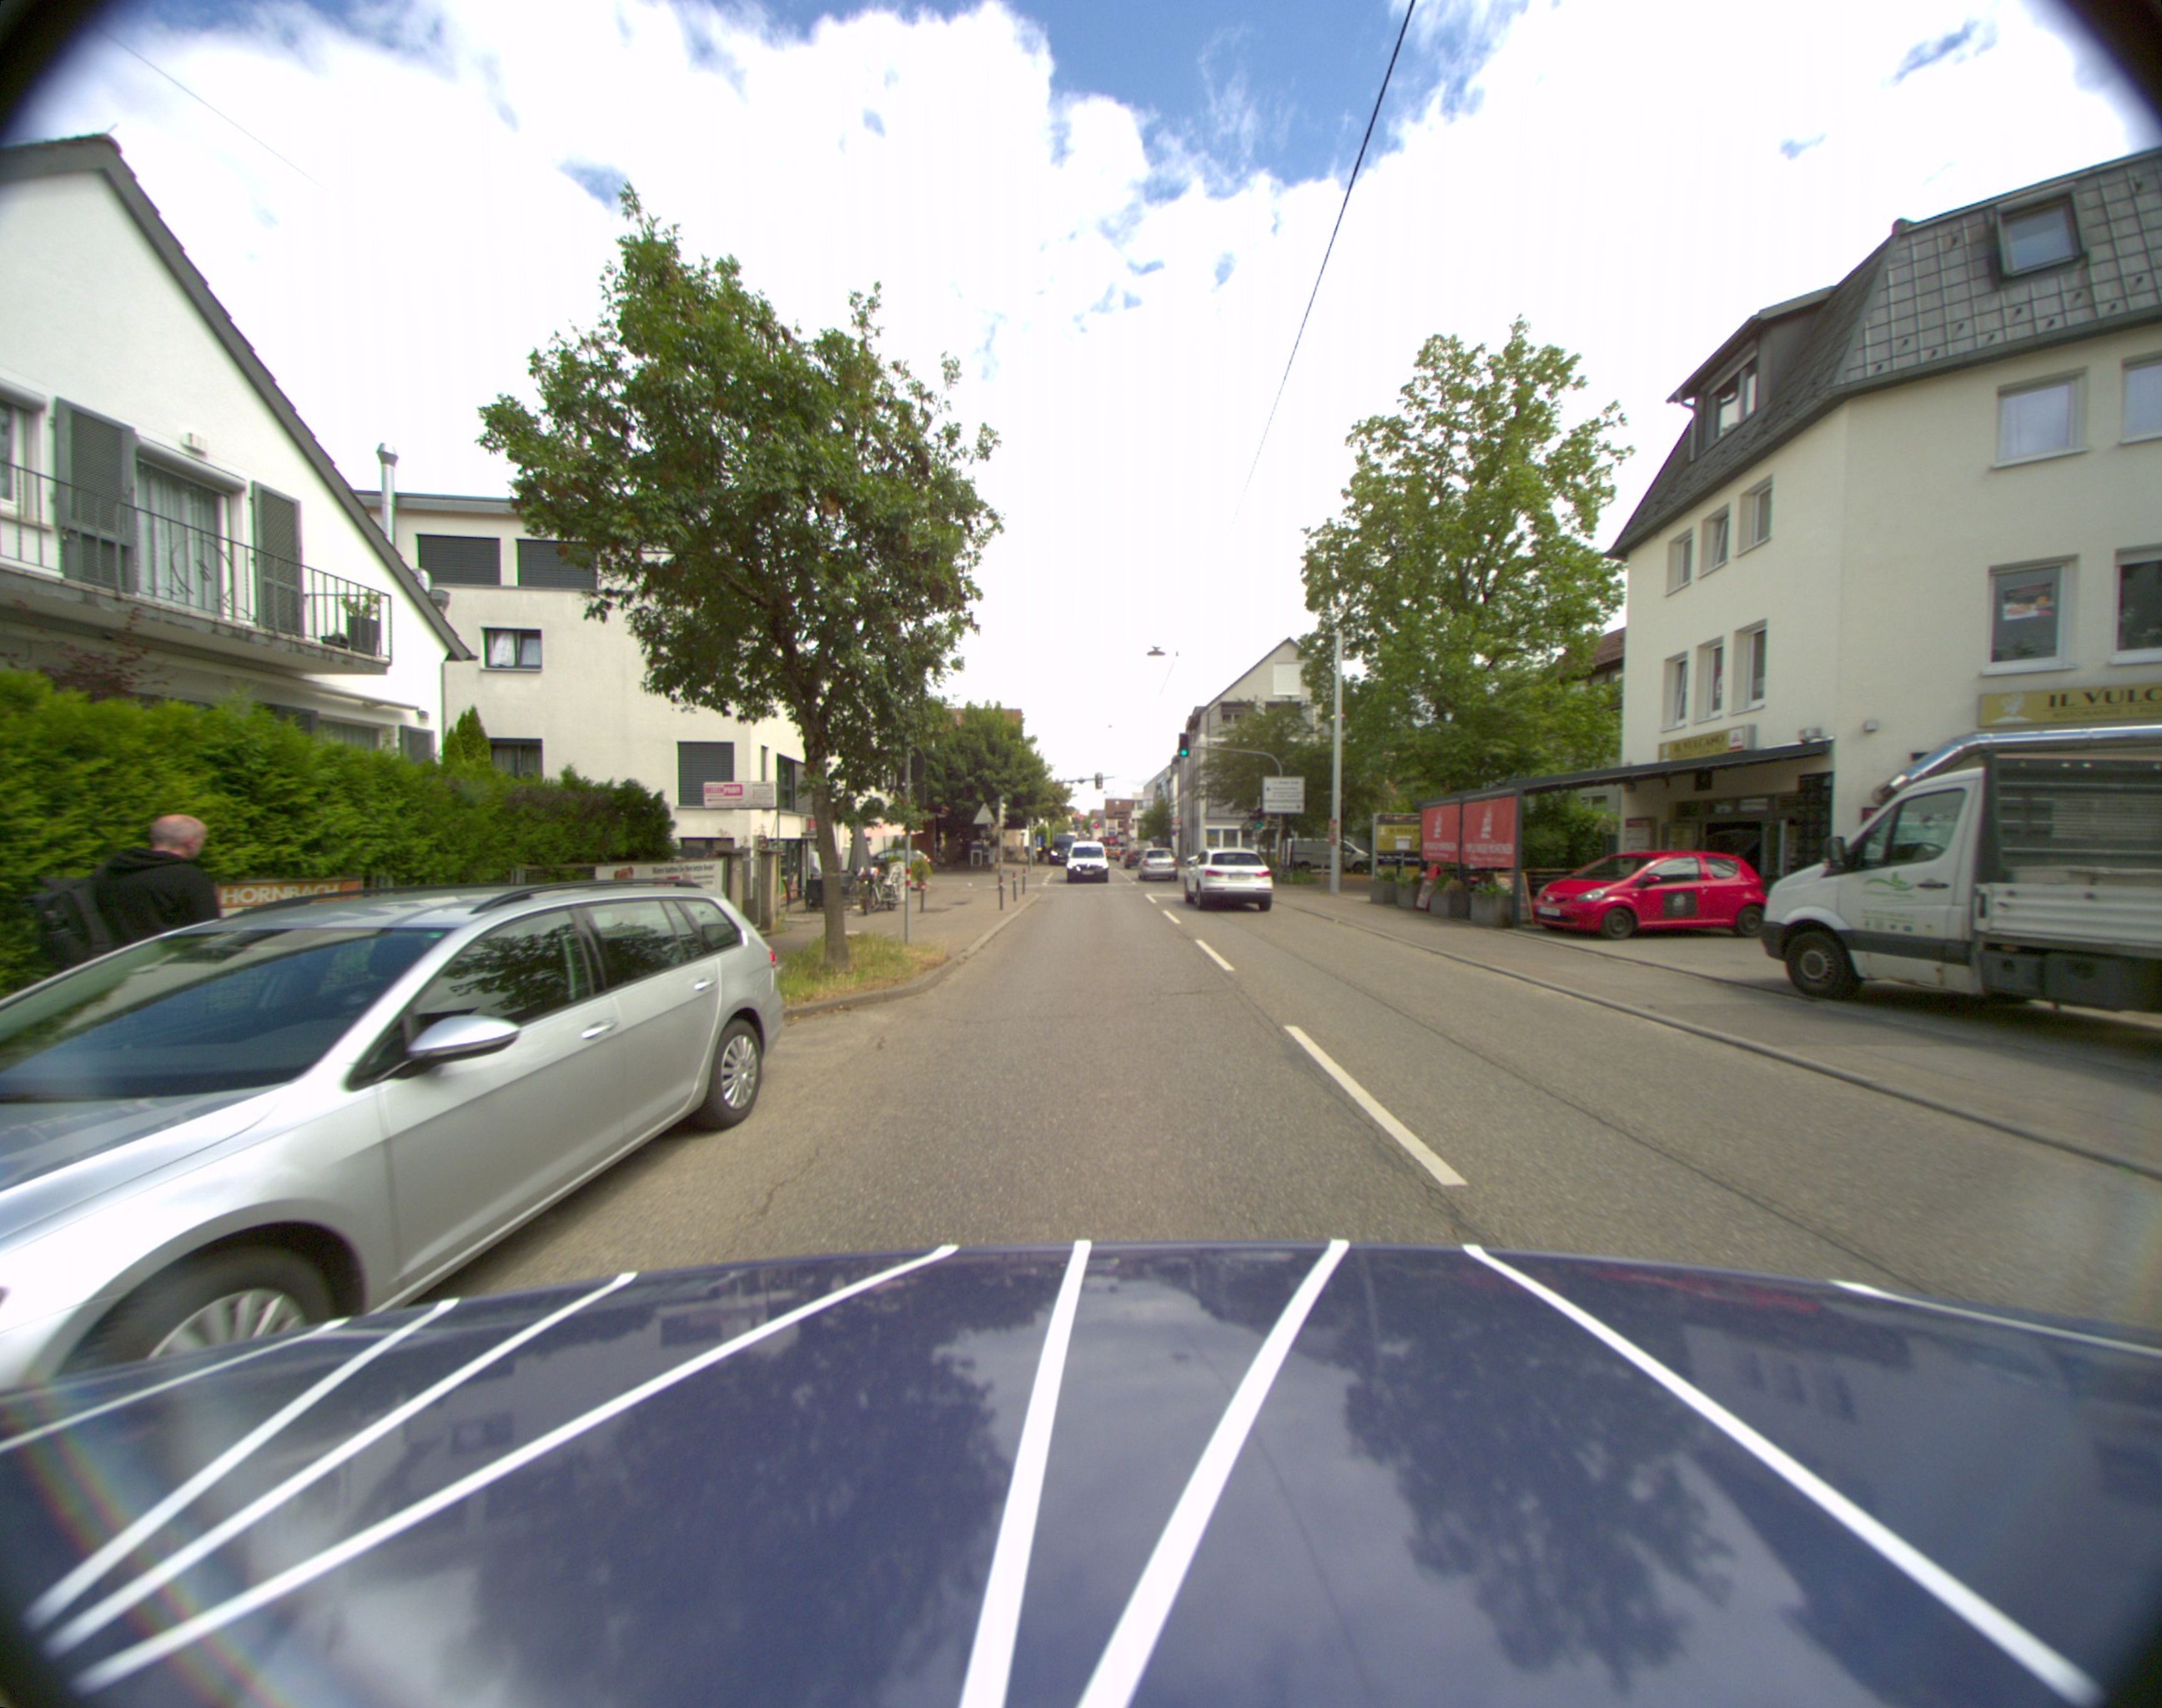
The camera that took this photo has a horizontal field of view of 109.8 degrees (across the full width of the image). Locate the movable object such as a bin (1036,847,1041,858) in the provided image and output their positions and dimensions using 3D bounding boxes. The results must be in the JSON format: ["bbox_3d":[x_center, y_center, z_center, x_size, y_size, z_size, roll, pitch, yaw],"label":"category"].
[{"bbox_3d":[-3.736,-0.115,66.786,0.410,0.933,0.273,3,1,-10],"label":"movable object such as a bin"}]

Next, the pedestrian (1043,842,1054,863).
[{"bbox_3d":[-2.814,-0.154,66.599,0.741,1.772,0.900,0,2,11],"label":"pedestrian"}]

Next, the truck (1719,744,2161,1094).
[{"bbox_3d":[8.466,0.408,5.772,2.229,2.366,6.326,0,2,4],"label":"truck"}]

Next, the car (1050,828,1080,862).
[{"bbox_3d":[-1.284,-0.791,65.233,2.153,2.755,6.249,0,1,2],"label":"car"}]

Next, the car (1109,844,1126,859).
[{"bbox_3d":[4.098,-0.288,84.822,1.732,1.529,3.999,-1,1,0],"label":"car"}]

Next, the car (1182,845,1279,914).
[{"bbox_3d":[3.852,0.587,20.250,1.810,1.562,4.158,2,1,1],"label":"car"}]

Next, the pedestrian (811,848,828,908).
[{"bbox_3d":[-7.960,0.717,23.120,0.429,1.752,0.674,-1,2,-19],"label":"pedestrian"}]

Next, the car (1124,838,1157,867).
[{"bbox_3d":[4.103,-0.139,52.722,1.882,1.902,4.750,-1,1,0],"label":"car"}]

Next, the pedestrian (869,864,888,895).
[{"bbox_3d":[-7.386,0.912,27.742,0.568,1.082,0.633,-2,2,-24],"label":"pedestrian"}]

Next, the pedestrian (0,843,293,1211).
[{"bbox_3d":[-5.018,0.804,3.948,0.882,1.703,0.842,0,2,3],"label":"pedestrian"}]

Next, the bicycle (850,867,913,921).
[{"bbox_3d":[-4.879,0.943,18.746,0.722,1.144,2.213,0,2,7],"label":"bicycle"}]

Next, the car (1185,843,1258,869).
[{"bbox_3d":[8.655,0.099,47.005,4.222,1.505,1.822,-1,0,1],"label":"car"}]

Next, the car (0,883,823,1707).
[{"bbox_3d":[-2.846,1.002,3.169,1.705,1.472,4.872,-2,1,2],"label":"car"}]

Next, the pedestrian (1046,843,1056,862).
[{"bbox_3d":[-2.698,-0.144,67.829,0.786,1.634,0.798,0,2,6],"label":"pedestrian"}]

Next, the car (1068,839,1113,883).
[{"bbox_3d":[0.399,0.247,34.405,1.871,1.805,5.006,-1,1,0],"label":"car"}]

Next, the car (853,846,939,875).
[{"bbox_3d":[-9.549,0.337,39.284,4.187,1.407,1.777,0,0,-15],"label":"car"}]

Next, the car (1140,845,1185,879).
[{"bbox_3d":[3.750,0.345,35.581,1.621,1.478,3.812,-1,1,-1],"label":"car"}]

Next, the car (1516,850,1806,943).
[{"bbox_3d":[9.889,0.676,13.164,3.702,1.417,1.804,-1,1,-2],"label":"car"}]

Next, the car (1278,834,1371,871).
[{"bbox_3d":[13.930,-0.091,43.645,4.633,1.998,2.095,-1,1,-1],"label":"car"}]

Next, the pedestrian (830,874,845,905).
[{"bbox_3d":[-7.504,1.088,23.390,0.420,0.933,0.497,-1,2,-19],"label":"pedestrian"}]

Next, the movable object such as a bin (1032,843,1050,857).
[{"bbox_3d":[-3.590,-0.341,67.992,1.188,1.258,1.206,-1,2,-30],"label":"movable object such as a bin"}]
